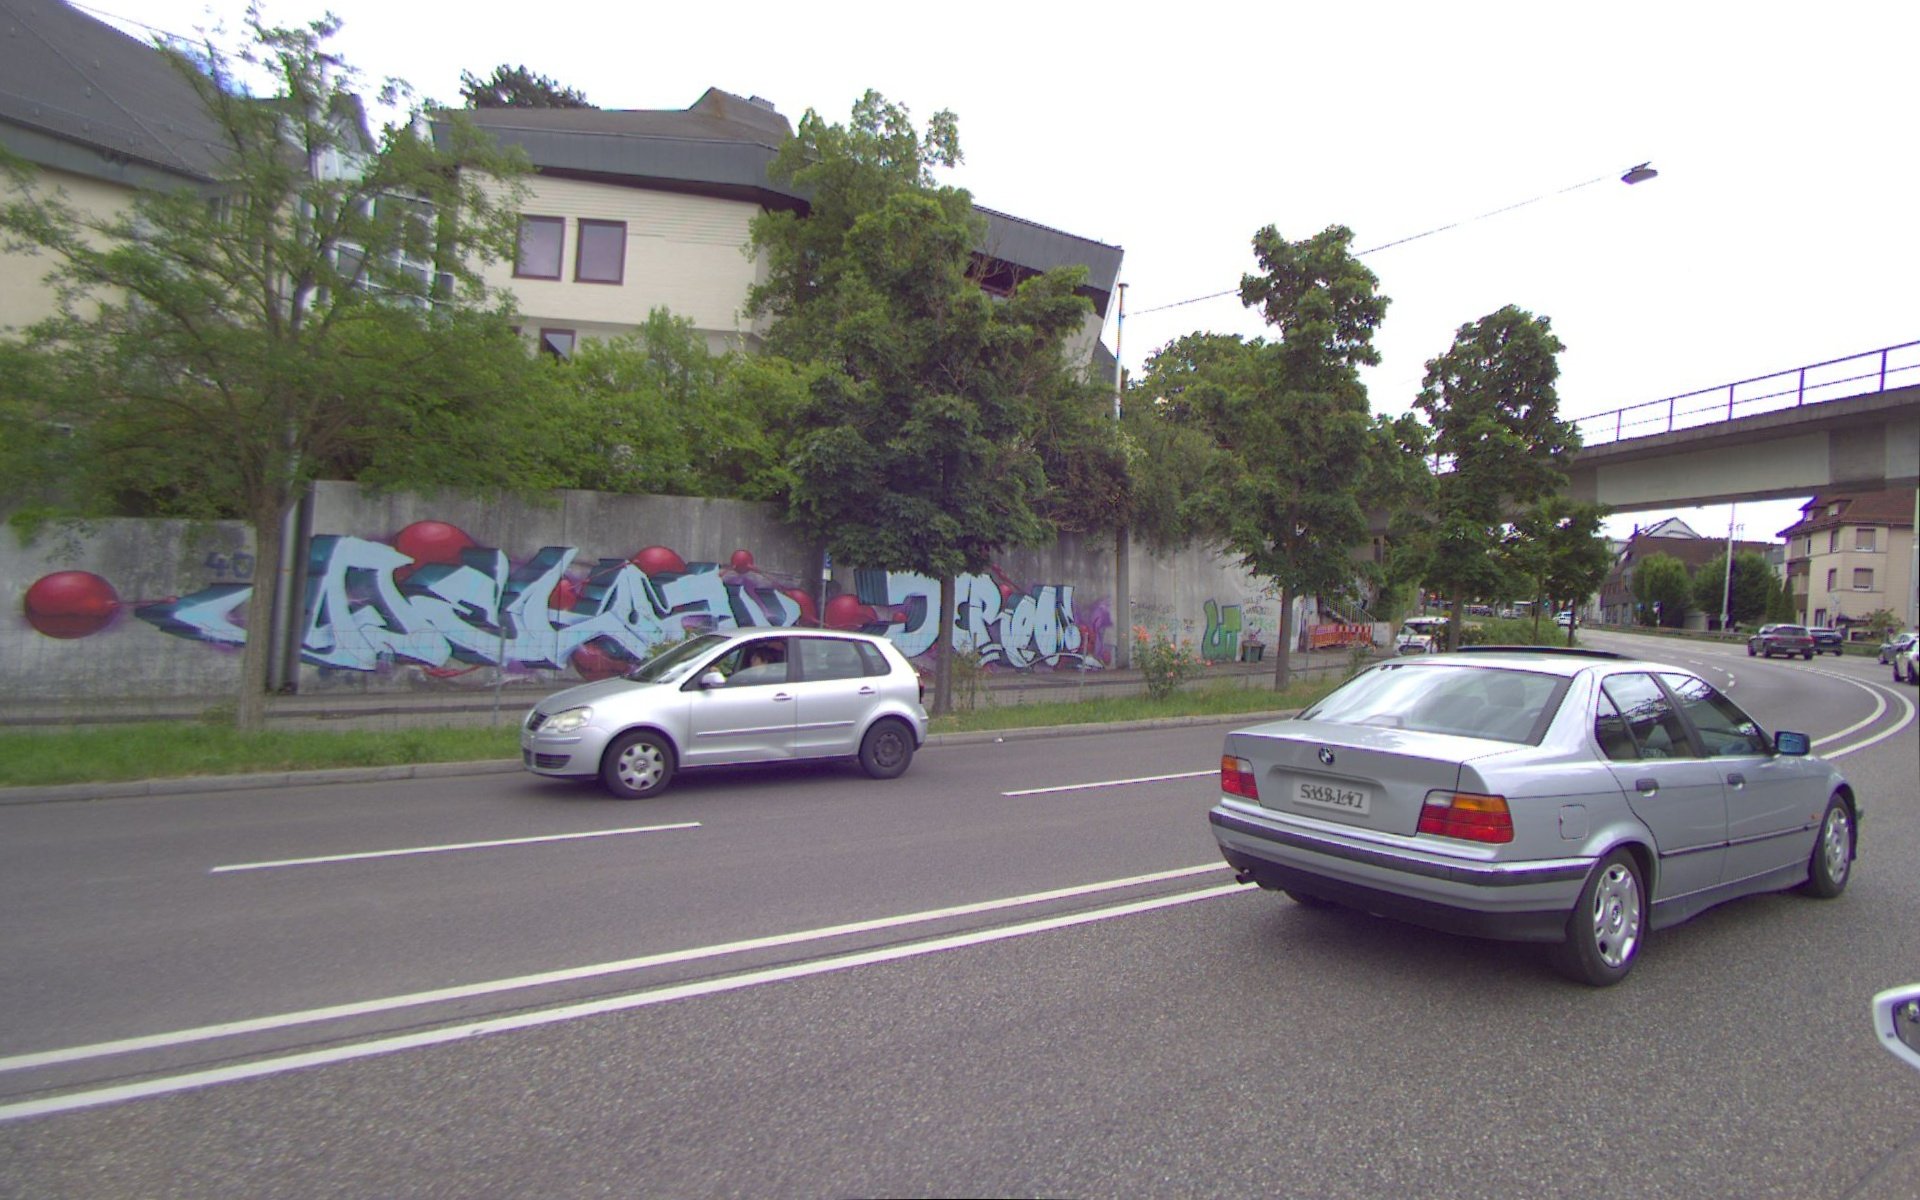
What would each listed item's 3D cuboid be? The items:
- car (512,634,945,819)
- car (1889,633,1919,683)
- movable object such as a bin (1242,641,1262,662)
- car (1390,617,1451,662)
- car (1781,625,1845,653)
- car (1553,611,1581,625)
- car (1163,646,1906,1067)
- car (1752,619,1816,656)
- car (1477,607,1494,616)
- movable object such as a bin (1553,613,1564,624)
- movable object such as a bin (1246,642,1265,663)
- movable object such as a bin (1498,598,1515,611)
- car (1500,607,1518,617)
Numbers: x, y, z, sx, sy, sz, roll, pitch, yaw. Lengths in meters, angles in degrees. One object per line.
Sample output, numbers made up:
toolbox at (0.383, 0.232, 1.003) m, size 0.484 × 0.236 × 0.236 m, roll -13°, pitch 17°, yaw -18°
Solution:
car at (-2.170, 1.066, 9.768) m, size 3.770 × 1.427 × 1.692 m, roll 1°, pitch -1°, yaw -35°
car at (29.382, 1.754, 30.257) m, size 1.701 × 1.394 × 3.443 m, roll 1°, pitch 0°, yaw 37°
movable object such as a bin at (10.294, 1.798, 35.390) m, size 0.548 × 0.649 × 0.581 m, roll 5°, pitch 4°, yaw 24°
car at (19.820, 1.630, 43.157) m, size 1.742 × 1.809 × 4.453 m, roll -1°, pitch -1°, yaw 33°
car at (46.815, 2.103, 55.194) m, size 1.695 × 1.394 × 3.455 m, roll 1°, pitch 0°, yaw 22°
car at (62.276, 1.812, 103.100) m, size 1.694 × 1.394 × 3.456 m, roll 1°, pitch 0°, yaw 19°
car at (3.329, 0.980, 5.457) m, size 4.571 × 1.401 × 1.625 m, roll 1°, pitch -2°, yaw -33°
car at (40.133, 1.798, 48.981) m, size 1.696 × 1.662 × 3.452 m, roll 1°, pitch 0°, yaw 27°
car at (77.931, 1.710, 149.055) m, size 1.694 × 1.394 × 3.456 m, roll 1°, pitch 0°, yaw 19°
movable object such as a bin at (92.395, 2.860, 155.145) m, size 1.176 × 1.427 × 0.711 m, roll 5°, pitch 3°, yaw 20°
movable object such as a bin at (10.589, 1.874, 36.016) m, size 0.548 × 0.649 × 0.581 m, roll 5°, pitch 4°, yaw 24°
movable object such as a bin at (87.123, 0.743, 160.089) m, size 1.860 × 1.895 × 1.529 m, roll 5°, pitch 3°, yaw 11°
car at (80.933, 1.721, 148.101) m, size 1.694 × 1.394 × 3.456 m, roll 1°, pitch 0°, yaw 19°
